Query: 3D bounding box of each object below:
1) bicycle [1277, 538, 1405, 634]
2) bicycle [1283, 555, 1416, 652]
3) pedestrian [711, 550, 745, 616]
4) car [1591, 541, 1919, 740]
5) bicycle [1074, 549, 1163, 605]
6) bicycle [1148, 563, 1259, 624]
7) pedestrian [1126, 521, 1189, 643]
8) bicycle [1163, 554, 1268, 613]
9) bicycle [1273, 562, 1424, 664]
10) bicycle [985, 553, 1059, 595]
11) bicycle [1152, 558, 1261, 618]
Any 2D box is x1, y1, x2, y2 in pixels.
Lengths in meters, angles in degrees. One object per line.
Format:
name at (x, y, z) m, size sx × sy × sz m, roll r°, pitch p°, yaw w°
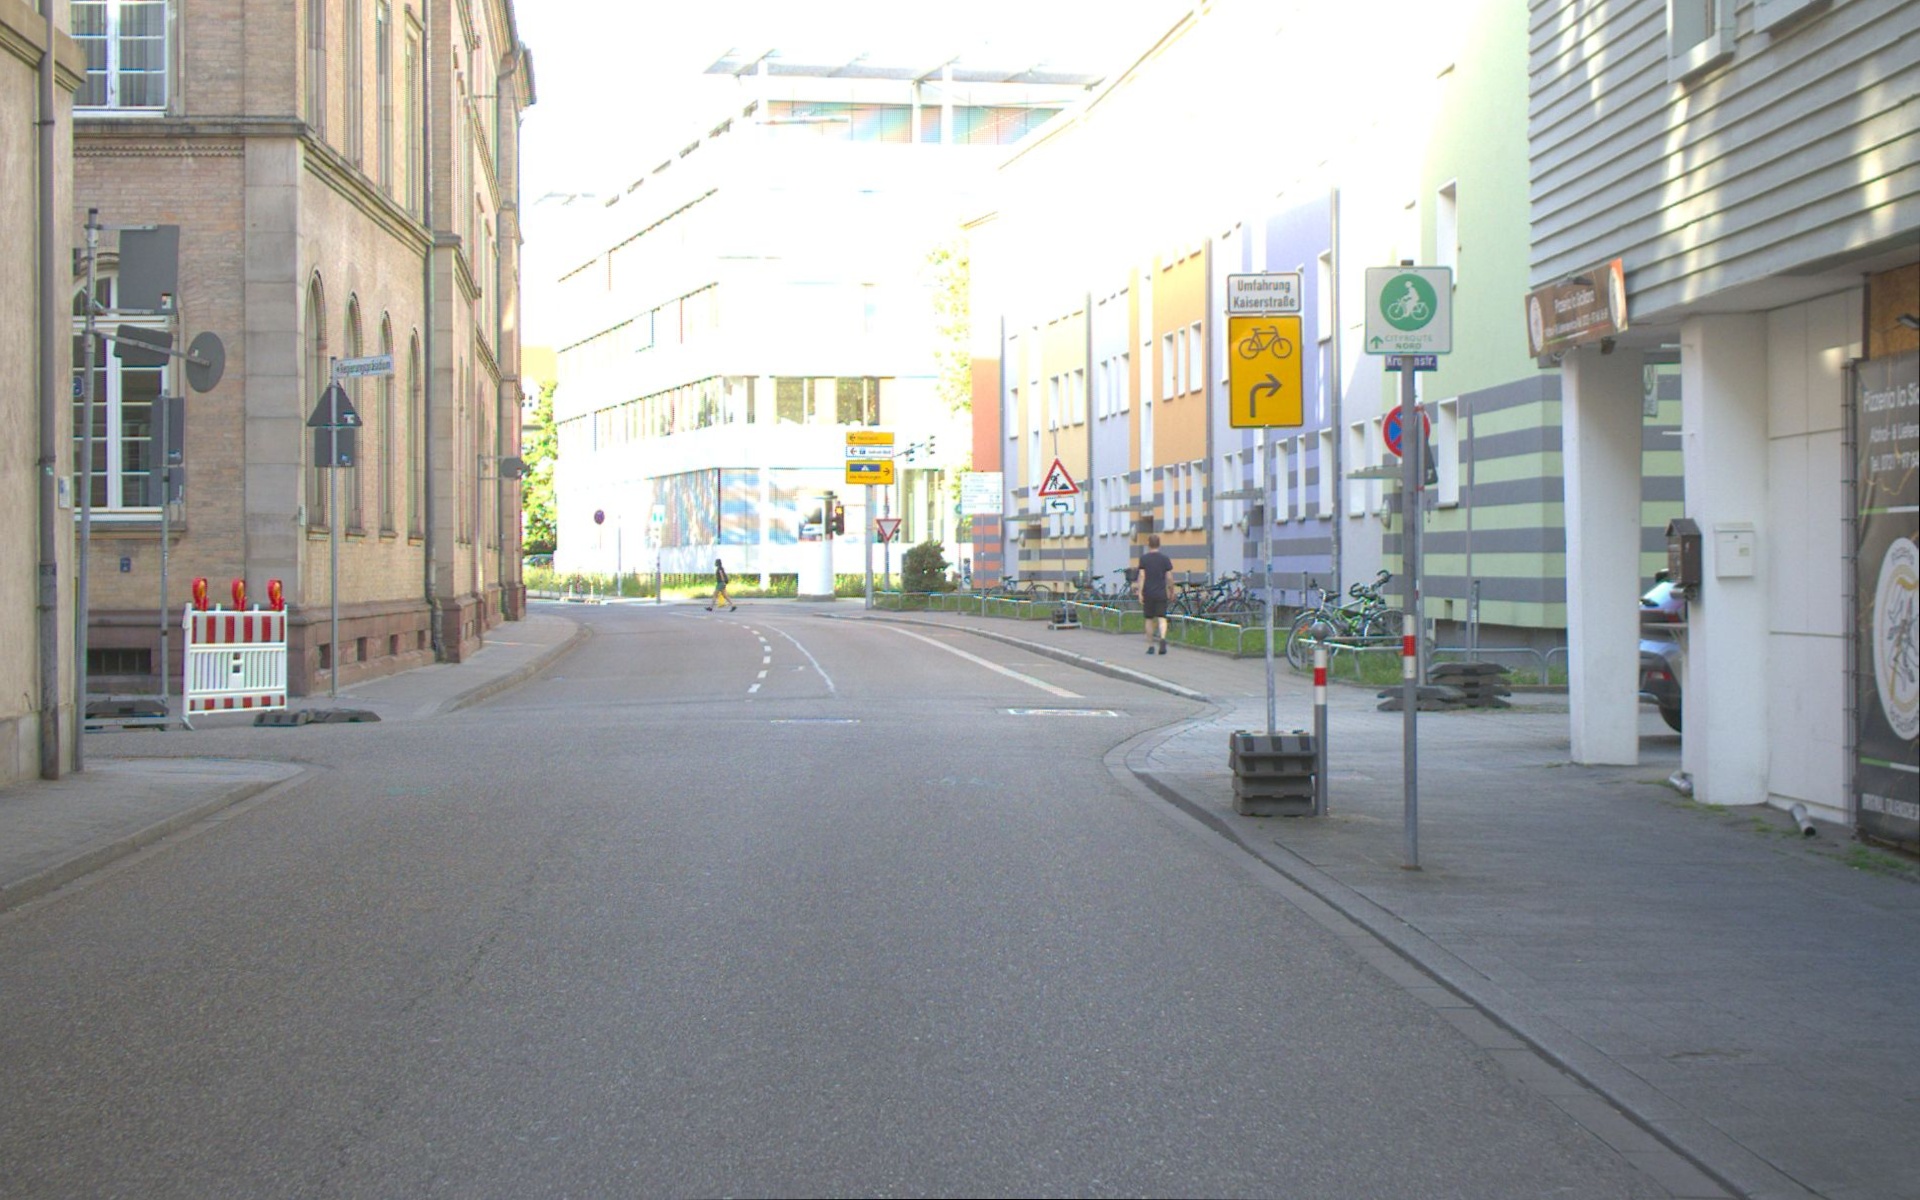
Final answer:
bicycle at (4.990, -0.186, 45.001) m, size 1.602 × 1.137 × 0.237 m, roll -5°, pitch 2°, yaw -12°
bicycle at (5.066, 0.042, 44.745) m, size 1.640 × 1.137 × 0.283 m, roll -5°, pitch 2°, yaw -12°
pedestrian at (-7.147, -0.517, 106.074) m, size 0.895 × 2.007 × 0.753 m, roll -2°, pitch 1°, yaw -12°
car at (7.321, 0.282, 27.614) m, size 4.078 × 1.477 × 1.866 m, roll -1°, pitch 1°, yaw -3°
bicycle at (3.401, -0.497, 73.805) m, size 1.810 × 1.133 × 0.552 m, roll -2°, pitch 1°, yaw -5°
bicycle at (4.044, -0.114, 57.219) m, size 1.748 × 0.943 × 0.552 m, roll -2°, pitch 1°, yaw -4°
pedestrian at (2.928, -0.277, 51.047) m, size 0.696 × 1.754 × 1.189 m, roll -4°, pitch 1°, yaw -4°
bicycle at (4.385, -0.289, 59.021) m, size 1.748 × 0.943 × 0.326 m, roll -2°, pitch 1°, yaw -3°
bicycle at (4.888, 0.157, 43.340) m, size 1.748 × 1.137 × 0.552 m, roll -4°, pitch 2°, yaw -4°
bicycle at (1.586, -0.663, 88.035) m, size 1.753 × 1.000 × 0.613 m, roll -3°, pitch 1°, yaw -8°
bicycle at (4.162, -0.202, 58.163) m, size 1.748 × 0.943 × 0.552 m, roll -2°, pitch 1°, yaw -4°
